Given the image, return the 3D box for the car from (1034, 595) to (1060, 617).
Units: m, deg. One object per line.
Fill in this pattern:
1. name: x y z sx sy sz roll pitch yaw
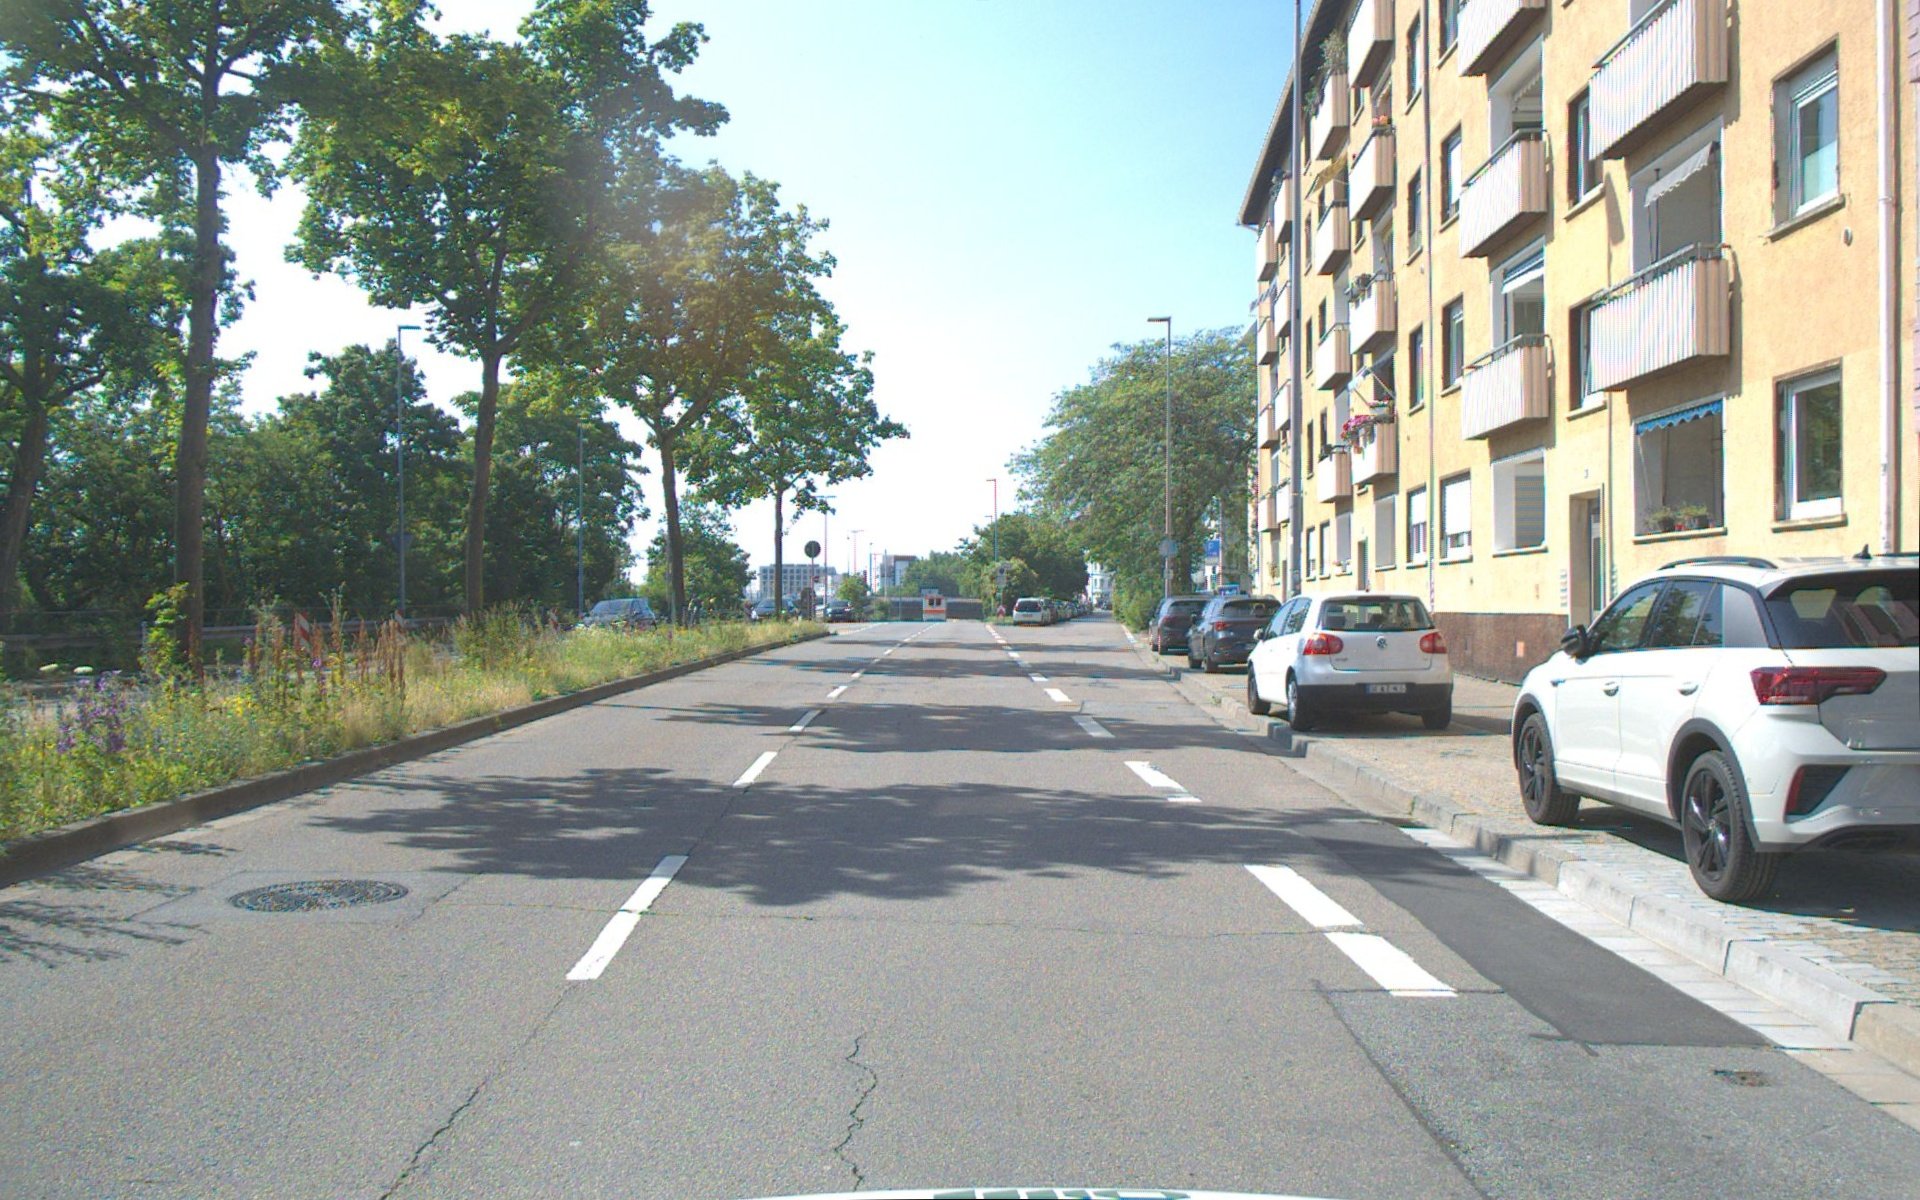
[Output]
1. car: 6.113 0.401 116.078 1.628 1.499 3.792 2 0 6

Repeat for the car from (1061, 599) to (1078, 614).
1. car: 11.641 0.687 174.965 1.628 1.536 4.011 2 0 6

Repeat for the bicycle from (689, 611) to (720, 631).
1. bicycle: -12.059 0.989 78.109 0.678 0.921 2.344 -1 0 12

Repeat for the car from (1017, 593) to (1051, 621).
1. car: 4.282 0.409 94.964 1.685 1.532 4.135 -1 0 6

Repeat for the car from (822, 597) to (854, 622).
1. car: -8.917 0.692 121.175 1.952 1.764 4.730 0 0 1

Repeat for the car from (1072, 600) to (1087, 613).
1. car: 16.462 0.874 227.876 1.951 1.686 4.002 0 0 4

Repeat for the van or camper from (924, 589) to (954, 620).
1. van or camper: -1.894 0.401 152.464 2.248 2.838 5.574 0 0 5

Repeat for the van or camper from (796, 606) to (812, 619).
1. van or camper: -17.044 1.371 180.833 1.437 1.373 4.630 0 0 -1

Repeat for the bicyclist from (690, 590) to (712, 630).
1. bicyclist: -12.208 0.469 78.002 0.681 1.864 1.018 -1 0 12

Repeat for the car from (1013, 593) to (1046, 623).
1. car: 3.818 0.423 90.382 1.585 1.532 3.464 -1 0 6

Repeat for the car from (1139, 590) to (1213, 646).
1. car: 6.302 0.499 48.633 1.668 1.540 4.092 -1 0 1

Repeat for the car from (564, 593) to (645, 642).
1. car: -11.718 0.568 54.796 1.760 1.557 4.000 0 0 1

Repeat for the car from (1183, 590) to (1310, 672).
1. car: 5.540 0.558 32.500 1.763 1.463 4.590 -1 0 1

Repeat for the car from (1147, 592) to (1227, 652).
1. car: 5.952 0.549 43.683 1.675 1.487 4.257 -1 0 2

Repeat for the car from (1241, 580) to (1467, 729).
1. car: 4.467 0.555 19.352 1.720 1.532 4.128 -1 0 1

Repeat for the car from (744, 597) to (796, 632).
1. car: -8.508 0.612 74.399 1.727 1.500 4.085 -1 0 2

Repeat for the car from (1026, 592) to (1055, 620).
1. car: 4.880 0.355 100.270 1.735 1.607 4.187 -1 0 3

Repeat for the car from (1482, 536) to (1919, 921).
1. car: 4.328 0.509 8.950 1.700 1.568 4.354 -1 0 1

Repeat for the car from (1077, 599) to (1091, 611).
1. car: 17.803 0.756 237.603 1.951 1.686 4.002 0 0 4
